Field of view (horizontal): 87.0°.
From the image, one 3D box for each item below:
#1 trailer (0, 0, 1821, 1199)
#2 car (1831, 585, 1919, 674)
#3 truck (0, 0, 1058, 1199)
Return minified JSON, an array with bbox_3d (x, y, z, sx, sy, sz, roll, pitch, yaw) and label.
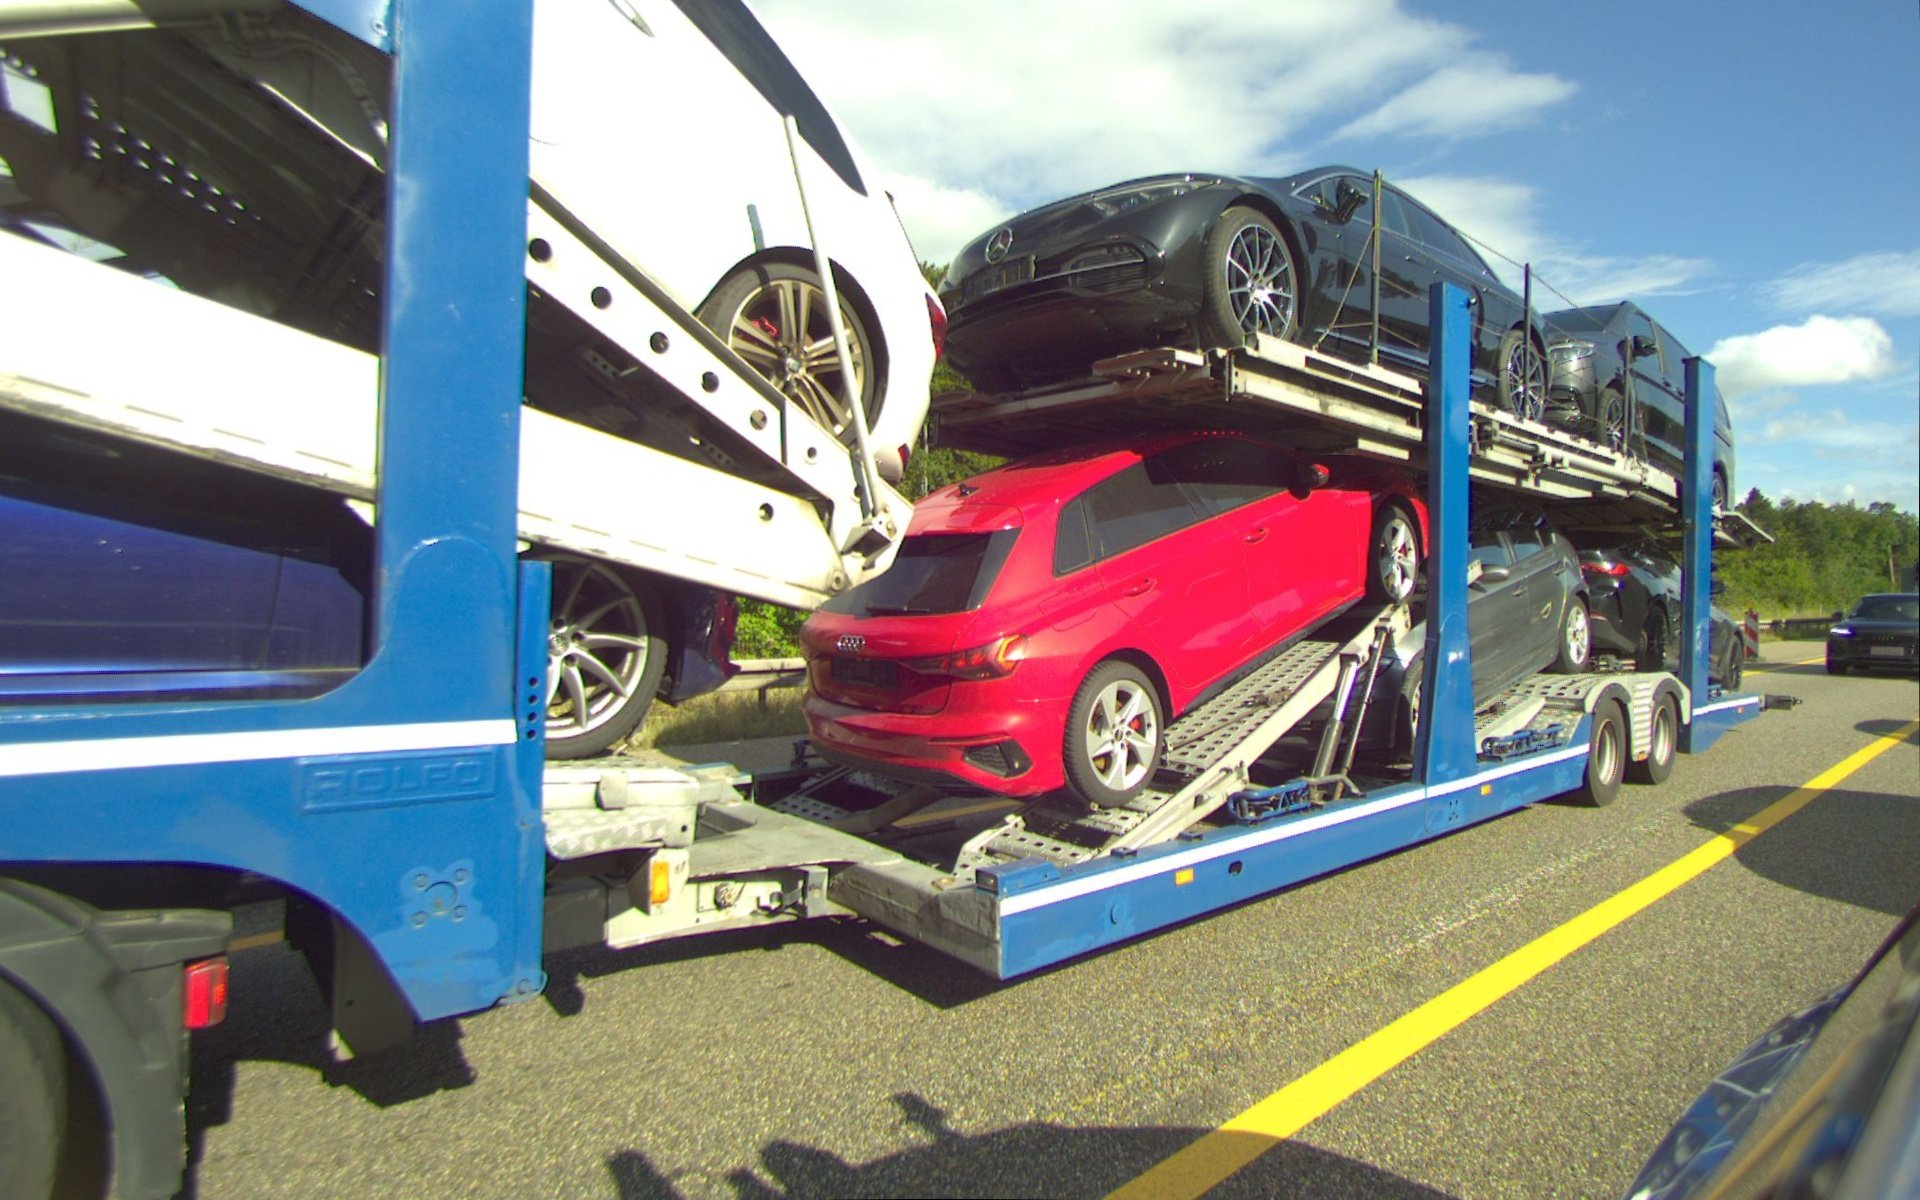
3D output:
[{"bbox_3d":[2.215,-0.829,7.425,15.941,4.249,3.733,-1,0,-40],"label":"trailer"},{"bbox_3d":[18.966,0.514,20.216,4.219,1.622,1.781,-1,0,-41],"label":"car"},{"bbox_3d":[-3.857,-0.722,2.211,7.811,4.249,3.768,-1,0,-40],"label":"truck"}]
